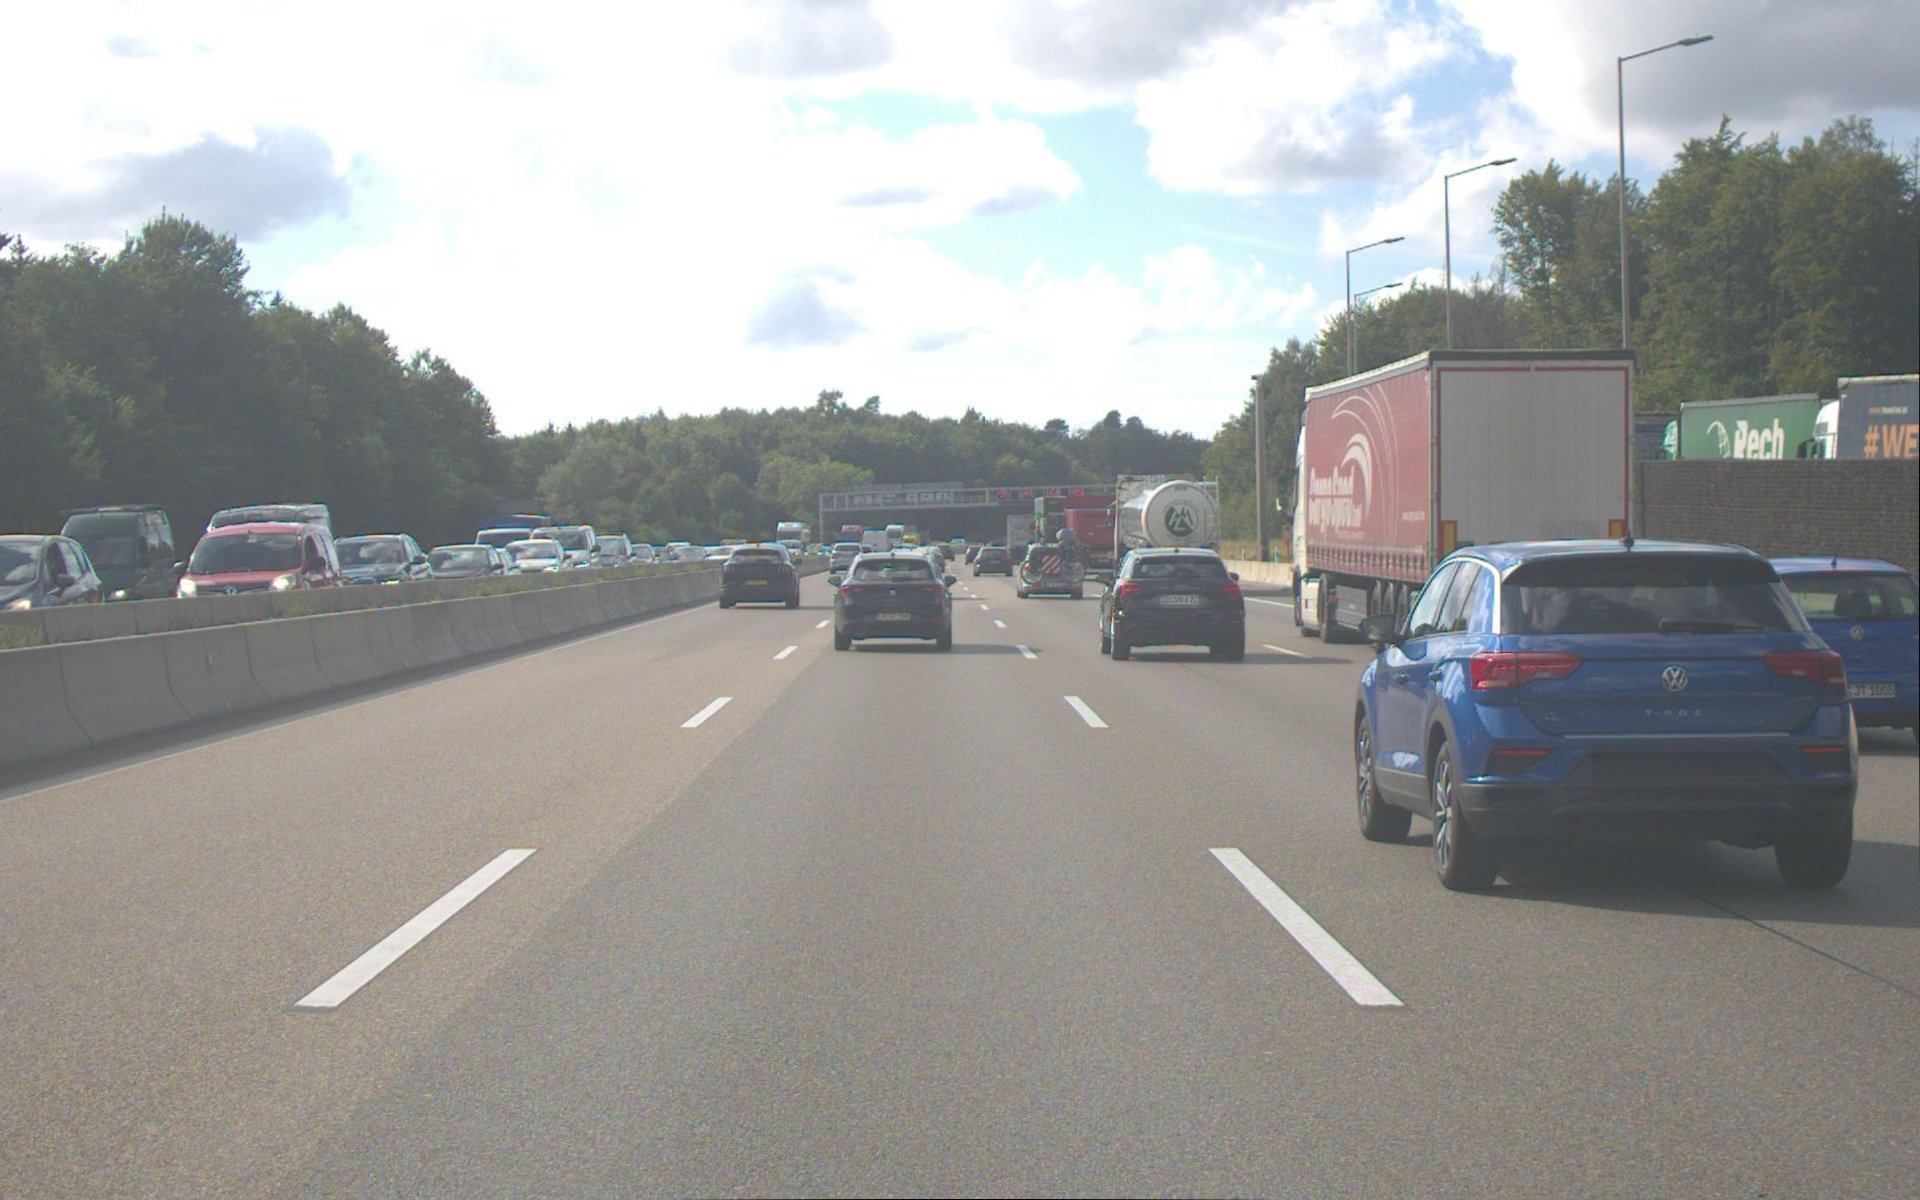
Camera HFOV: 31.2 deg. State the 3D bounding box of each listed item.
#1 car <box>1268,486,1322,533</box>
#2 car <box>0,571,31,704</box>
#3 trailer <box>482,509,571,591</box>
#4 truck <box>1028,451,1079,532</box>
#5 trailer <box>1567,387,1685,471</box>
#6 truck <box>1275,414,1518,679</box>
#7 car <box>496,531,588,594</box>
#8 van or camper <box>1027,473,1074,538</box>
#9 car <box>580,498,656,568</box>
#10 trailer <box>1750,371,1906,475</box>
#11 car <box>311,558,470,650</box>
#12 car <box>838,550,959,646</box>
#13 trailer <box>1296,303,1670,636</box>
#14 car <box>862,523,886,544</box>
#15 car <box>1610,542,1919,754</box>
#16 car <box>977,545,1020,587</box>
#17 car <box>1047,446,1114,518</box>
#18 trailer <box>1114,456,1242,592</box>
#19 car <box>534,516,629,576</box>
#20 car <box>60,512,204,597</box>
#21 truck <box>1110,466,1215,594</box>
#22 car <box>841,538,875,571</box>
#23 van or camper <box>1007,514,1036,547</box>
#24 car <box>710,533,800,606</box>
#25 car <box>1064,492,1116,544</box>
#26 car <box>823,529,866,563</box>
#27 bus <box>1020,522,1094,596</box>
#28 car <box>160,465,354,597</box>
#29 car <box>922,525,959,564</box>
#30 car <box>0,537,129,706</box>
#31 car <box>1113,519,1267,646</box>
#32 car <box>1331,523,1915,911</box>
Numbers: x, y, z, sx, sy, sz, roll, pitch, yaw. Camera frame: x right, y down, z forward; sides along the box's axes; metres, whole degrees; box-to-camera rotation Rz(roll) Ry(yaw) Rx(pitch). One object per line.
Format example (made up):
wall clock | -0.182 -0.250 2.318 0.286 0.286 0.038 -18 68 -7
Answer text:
car | 15.314 -4.114 157.195 1.993 2.007 4.000 -1 0 -1
car | -18.266 0.688 61.117 1.993 2.365 5.329 1 1 1
trailer | -15.151 -1.752 120.670 2.278 2.776 8.542 0 1 -2
truck | 4.637 -5.356 172.019 2.358 3.560 11.265 0 -1 1
trailer | 19.540 -4.988 101.156 2.050 2.007 6.964 0 -1 -1
truck | 6.975 -0.781 55.765 3.080 4.050 6.069 0 -1 -1
car | -10.697 -0.975 88.172 1.765 1.567 4.357 1 1 1
van or camper | 4.714 -4.887 179.103 2.351 3.133 5.710 0 -1 1
car | -10.604 -2.054 106.845 1.993 2.007 4.677 0 -1 -1
trailer | 20.243 -4.096 80.454 1.993 2.007 6.193 0 -1 -1
car | -10.418 0.044 63.215 1.993 1.567 5.207 1 1 1
car | -0.897 -0.031 51.588 1.734 1.360 4.000 1 0 0
trailer | 7.065 -1.521 48.909 3.038 4.021 13.890 0 -1 -1
car | -6.309 -4.859 252.902 1.623 1.465 3.814 1 0 0
car | 6.443 0.345 26.971 1.715 1.506 4.302 -1 0 -2
car | 1.883 -1.643 168.215 1.993 2.007 4.000 1 0 -1
car | 5.378 -5.290 154.609 2.866 2.981 5.149 0 -1 1
trailer | 6.786 -2.287 108.878 3.036 4.002 12.245 0 0 -1
car | -10.610 -1.515 96.669 1.993 1.567 5.329 2 1 1
car | -17.789 -0.983 74.052 1.993 1.756 4.459 0 1 1
truck | 6.727 -2.276 115.072 3.045 4.146 7.127 0 0 0
car | -6.336 -2.847 213.048 1.993 2.007 4.001 0 1 -3
van or camper | 4.655 -5.280 260.828 2.083 2.484 4.225 0 1 -1
car | -5.074 -0.775 85.574 1.993 1.770 4.000 -1 1 0
car | 5.456 -3.440 144.619 1.993 2.007 4.000 0 -1 -1
car | -6.201 -2.907 185.033 2.154 1.770 4.000 1 0 0
bus | 2.750 -1.161 98.388 1.993 2.007 4.000 0 -1 0
car | -9.883 -0.972 48.707 1.875 1.756 5.295 0 1 -3
car | -1.118 -3.099 191.663 1.993 2.007 4.000 -1 -1 -1
car | -10.702 0.223 38.074 1.858 1.756 4.458 0 0 1
car | 3.104 -0.229 47.044 1.799 1.639 4.000 1 0 0
car | 2.986 0.432 16.519 1.924 1.536 4.646 1 2 1
